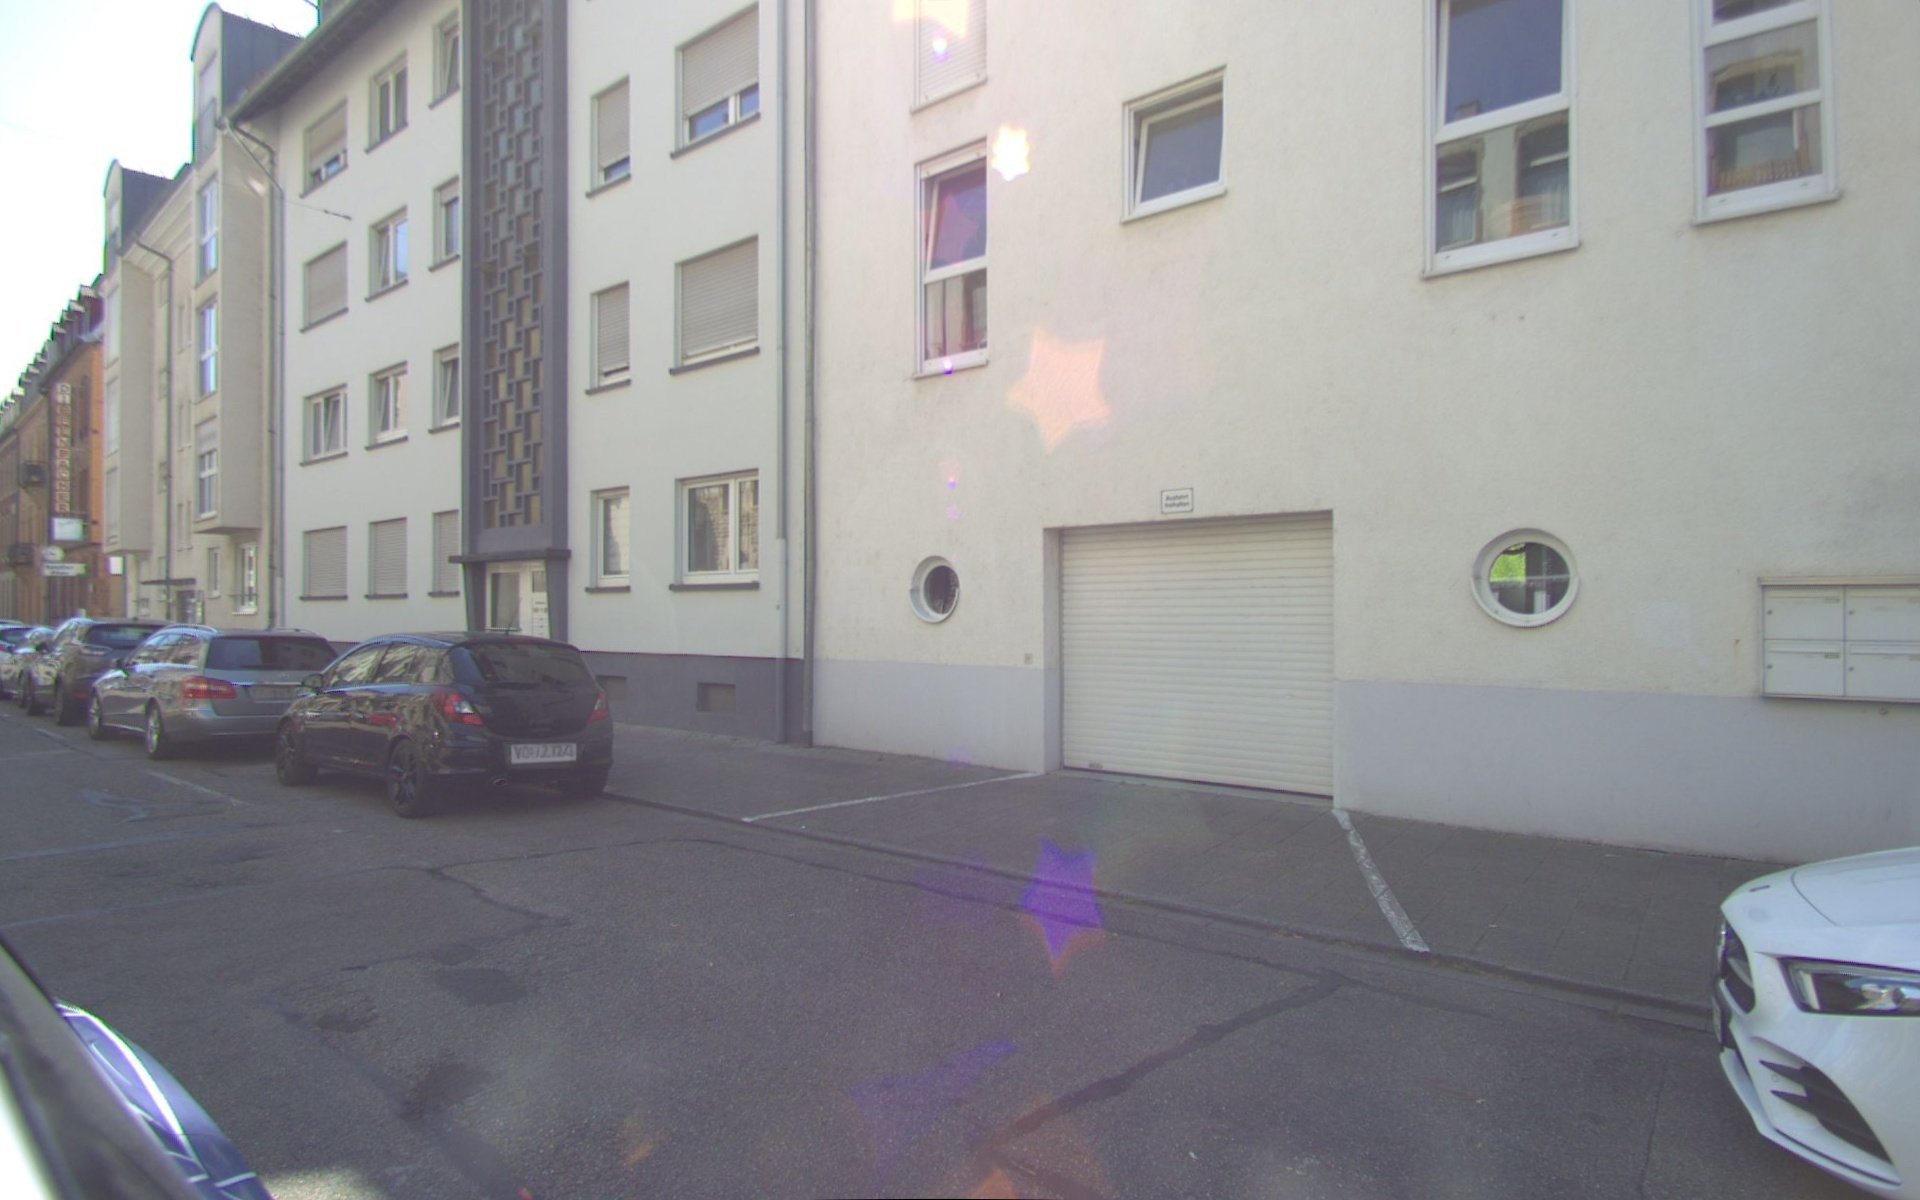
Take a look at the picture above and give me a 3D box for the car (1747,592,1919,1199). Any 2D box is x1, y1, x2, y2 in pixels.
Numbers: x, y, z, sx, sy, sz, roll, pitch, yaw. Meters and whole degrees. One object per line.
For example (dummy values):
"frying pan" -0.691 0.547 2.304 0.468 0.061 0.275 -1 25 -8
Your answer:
"car" 4.162 0.745 1.815 4.272 1.471 1.760 -1 -3 37

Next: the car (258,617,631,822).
"car" -4.849 0.940 9.311 3.889 1.503 1.552 -1 -3 39

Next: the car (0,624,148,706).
"car" -17.336 1.191 19.454 4.343 1.404 1.748 -1 -3 39

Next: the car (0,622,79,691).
"car" -22.483 1.293 23.909 4.343 1.506 1.713 -1 -4 39

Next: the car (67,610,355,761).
"car" -9.292 0.934 12.404 4.666 1.530 1.640 -1 -3 39

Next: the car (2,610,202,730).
"car" -13.486 1.022 15.836 3.972 1.657 1.588 -1 -3 39

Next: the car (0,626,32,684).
"car" -27.780 1.477 28.508 3.846 1.561 1.614 -1 -5 36
